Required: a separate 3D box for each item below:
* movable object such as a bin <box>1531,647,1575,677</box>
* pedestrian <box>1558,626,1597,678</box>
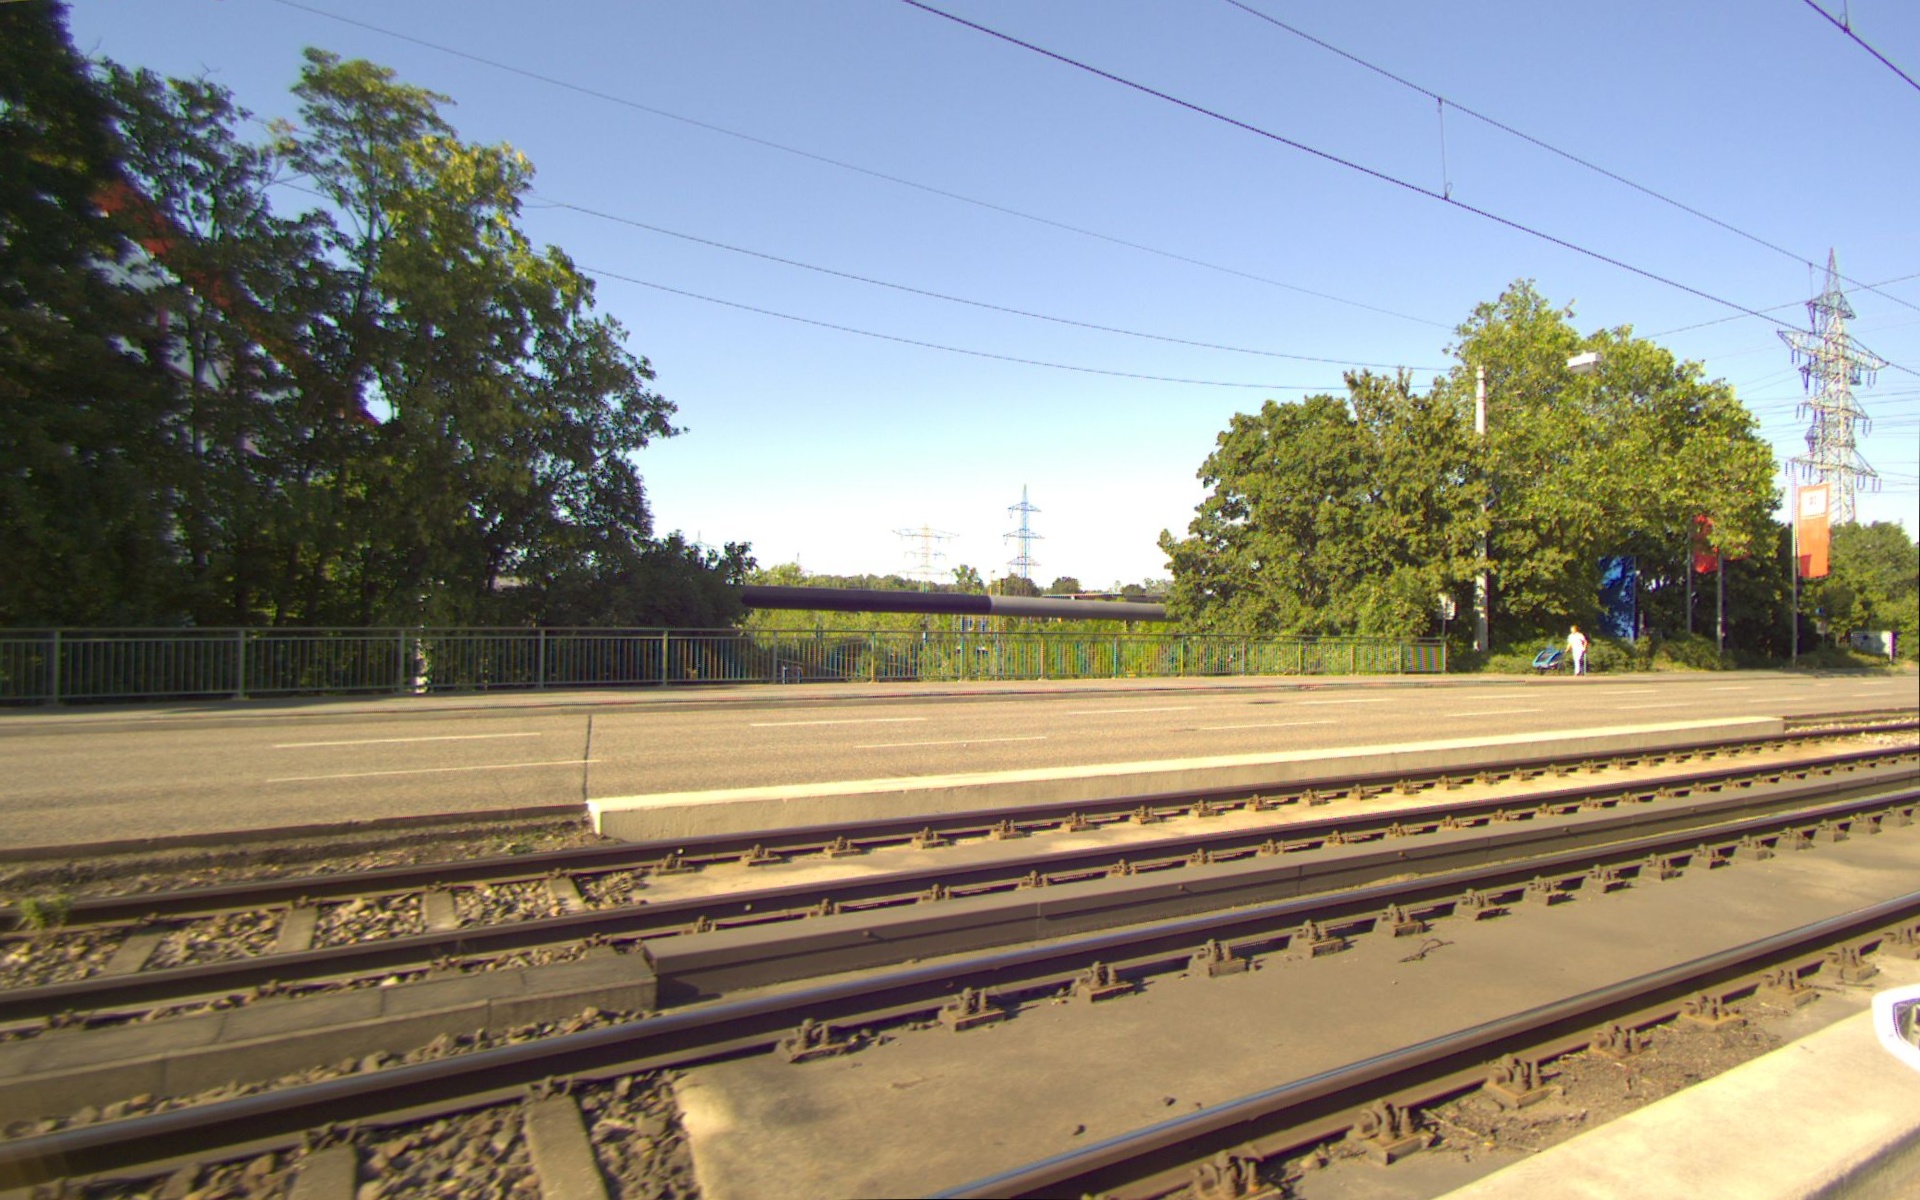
[{"bbox_3d":[21.067,2.214,35.689,1.081,0.974,0.725,3,1,-9],"label":"movable object such as a bin"},{"bbox_3d":[22.032,1.836,35.838,0.820,1.780,0.725,3,1,-9],"label":"pedestrian"}]
